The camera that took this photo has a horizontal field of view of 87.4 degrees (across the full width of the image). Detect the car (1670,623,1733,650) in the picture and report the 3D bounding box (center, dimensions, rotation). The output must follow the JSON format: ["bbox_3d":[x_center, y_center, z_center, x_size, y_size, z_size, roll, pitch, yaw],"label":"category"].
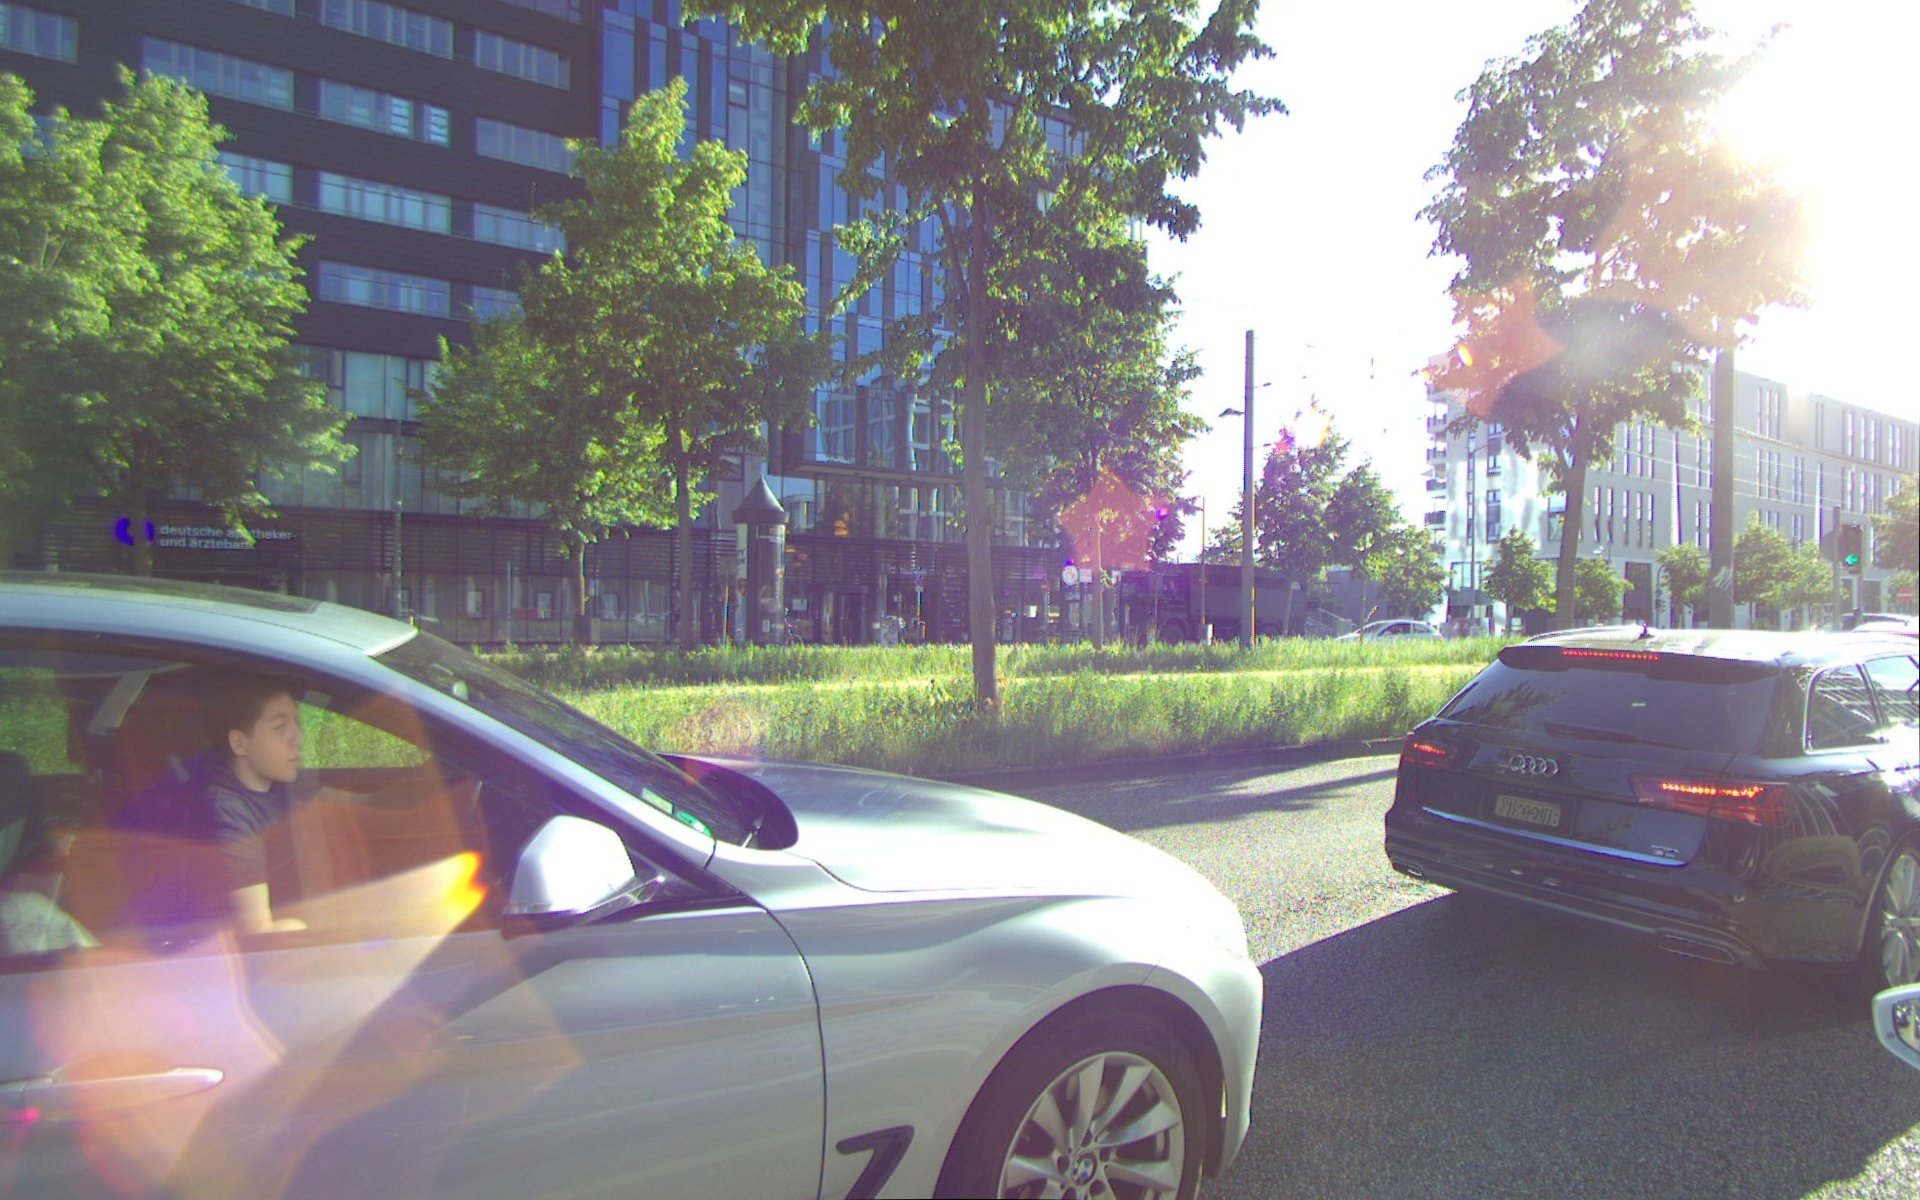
[{"bbox_3d":[51.463,2.516,69.679,4.319,1.838,1.984,1,-1,-30],"label":"car"}]

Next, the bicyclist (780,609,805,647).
[{"bbox_3d":[-6.459,1.083,38.730,0.811,1.443,0.475,1,-1,-30],"label":"bicyclist"}]

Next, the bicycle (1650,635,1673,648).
[{"bbox_3d":[54.618,3.242,78.201,1.933,1.001,0.673,1,-1,-31],"label":"bicycle"}]

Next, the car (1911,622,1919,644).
[{"bbox_3d":[90.287,3.081,93.139,3.953,2.040,1.984,1,-1,-30],"label":"car"}]

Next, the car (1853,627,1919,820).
[{"bbox_3d":[9.336,0.974,8.203,4.288,1.445,1.833,1,-1,-30],"label":"car"}]

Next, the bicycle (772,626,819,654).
[{"bbox_3d":[-6.353,1.546,38.802,1.735,1.049,0.475,1,-1,-31],"label":"bicycle"}]

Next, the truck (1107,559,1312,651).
[{"bbox_3d":[11.689,0.306,46.498,10.094,3.904,2.877,1,-1,-31],"label":"truck"}]

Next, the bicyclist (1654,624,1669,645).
[{"bbox_3d":[54.617,2.688,78.205,0.706,1.549,0.674,1,0,-30],"label":"bicyclist"}]

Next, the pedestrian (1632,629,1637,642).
[{"bbox_3d":[55.487,2.931,82.632,0.257,1.100,0.252,1,0,-30],"label":"pedestrian"}]

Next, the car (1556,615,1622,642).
[{"bbox_3d":[37.524,1.690,59.904,3.953,1.540,1.756,1,-1,-30],"label":"car"}]

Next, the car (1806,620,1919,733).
[{"bbox_3d":[14.577,1.082,15.084,4.164,1.512,1.508,1,-1,-29],"label":"car"}]

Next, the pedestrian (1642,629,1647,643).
[{"bbox_3d":[55.739,2.928,81.806,0.286,1.100,0.252,1,0,-30],"label":"pedestrian"}]

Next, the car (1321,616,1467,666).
[{"bbox_3d":[15.414,1.436,35.746,4.488,1.503,1.801,2,2,-12],"label":"car"}]

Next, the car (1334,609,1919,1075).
[{"bbox_3d":[4.382,0.841,5.358,4.911,1.504,1.864,1,-1,-32],"label":"car"}]

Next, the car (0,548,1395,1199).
[{"bbox_3d":[-1.335,0.703,2.038,4.509,1.504,1.810,1,-1,-31],"label":"car"}]
